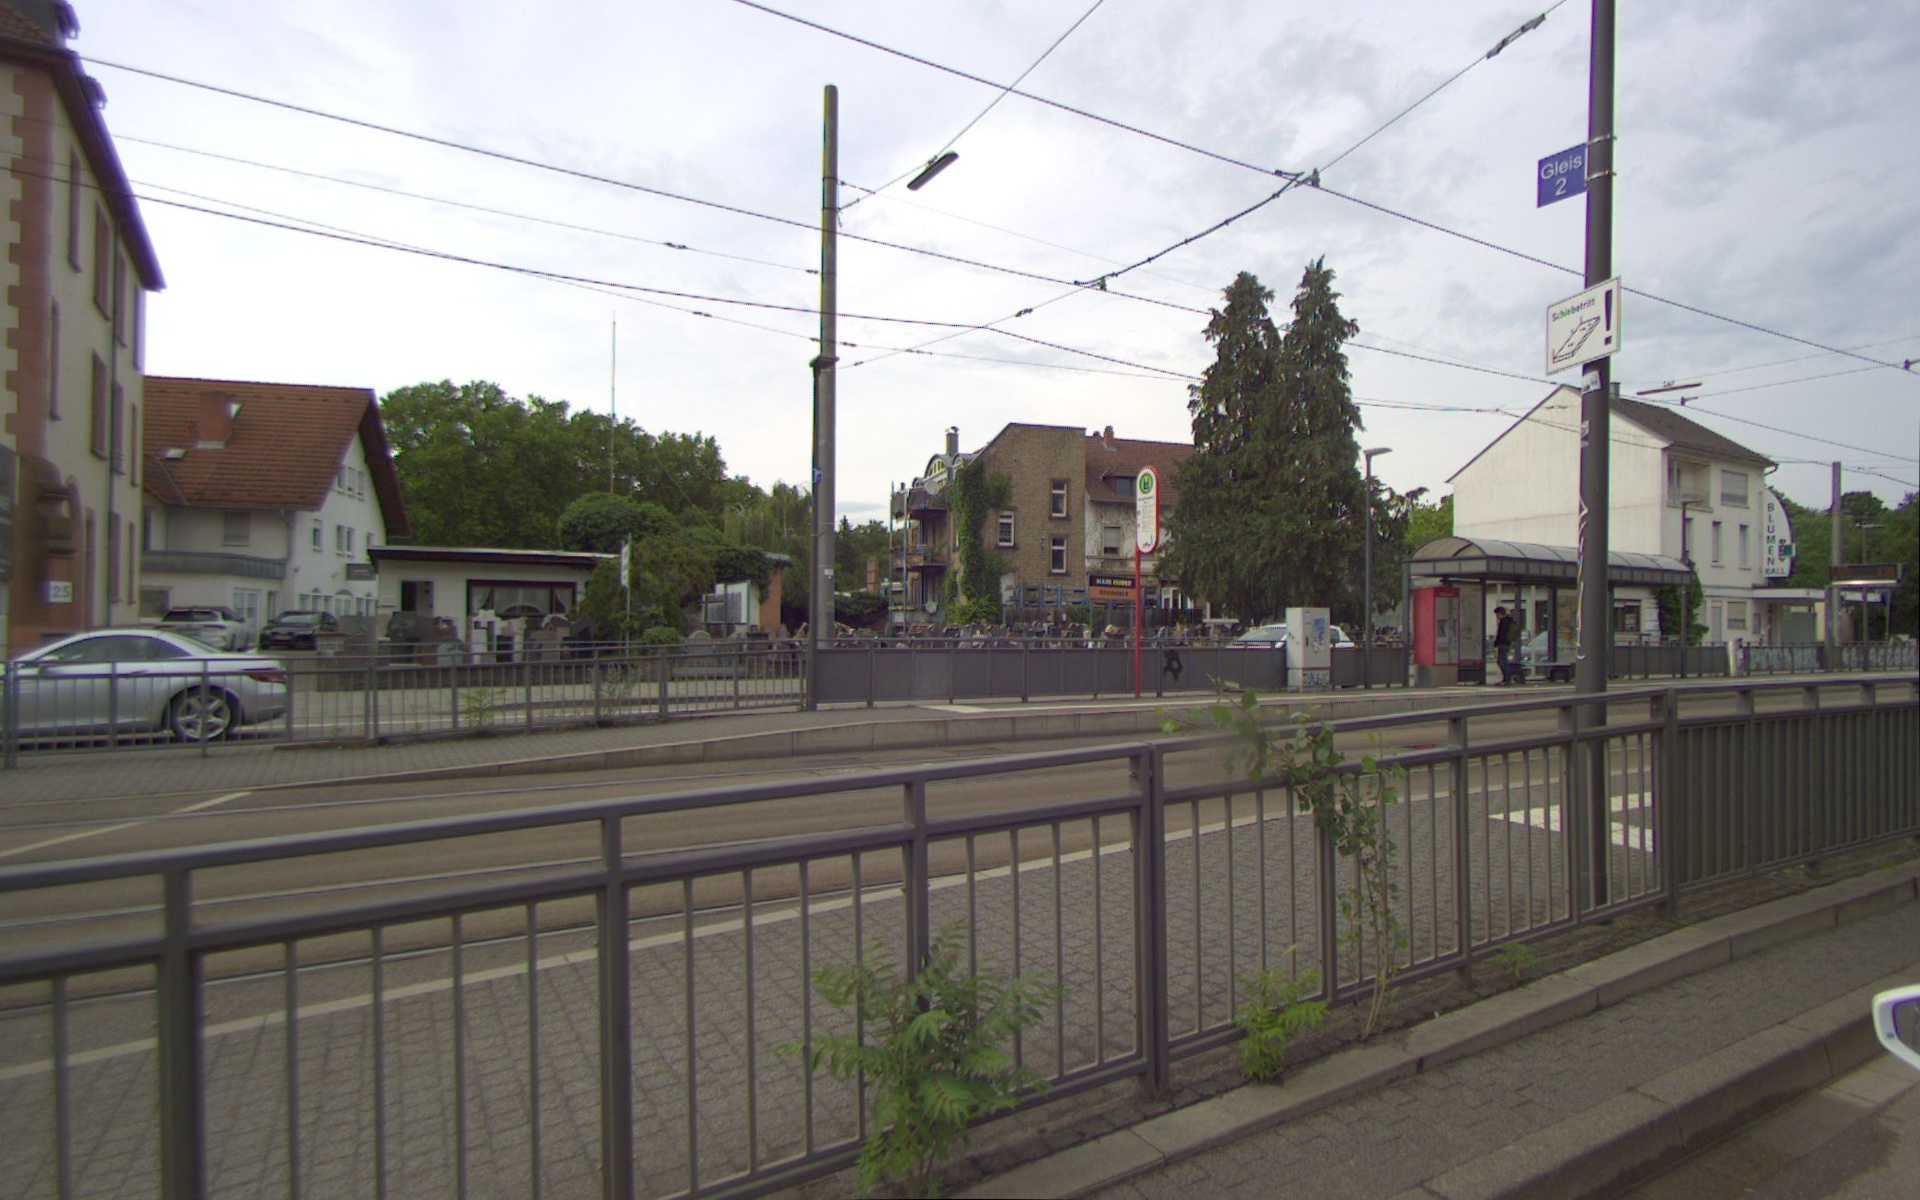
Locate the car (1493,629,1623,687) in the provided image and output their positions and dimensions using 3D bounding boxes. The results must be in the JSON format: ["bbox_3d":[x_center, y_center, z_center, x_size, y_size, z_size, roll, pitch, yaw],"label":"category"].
[{"bbox_3d":[16.852,1.613,28.260,3.962,1.470,1.751,3,-2,-36],"label":"car"}]

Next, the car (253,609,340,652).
[{"bbox_3d":[-24.240,1.090,36.814,1.690,1.454,3.635,1,-1,-18],"label":"car"}]

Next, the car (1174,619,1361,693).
[{"bbox_3d":[6.826,1.226,22.234,3.958,1.505,1.854,1,-4,-33],"label":"car"}]

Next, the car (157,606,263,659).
[{"bbox_3d":[-21.726,0.902,29.248,1.670,1.432,3.853,2,-1,-25],"label":"car"}]

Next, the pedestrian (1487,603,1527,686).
[{"bbox_3d":[11.440,0.915,21.013,0.684,1.686,0.616,1,-1,27],"label":"pedestrian"}]

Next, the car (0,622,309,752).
[{"bbox_3d":[-9.603,0.921,11.293,3.793,1.316,1.740,2,-2,-34],"label":"car"}]
